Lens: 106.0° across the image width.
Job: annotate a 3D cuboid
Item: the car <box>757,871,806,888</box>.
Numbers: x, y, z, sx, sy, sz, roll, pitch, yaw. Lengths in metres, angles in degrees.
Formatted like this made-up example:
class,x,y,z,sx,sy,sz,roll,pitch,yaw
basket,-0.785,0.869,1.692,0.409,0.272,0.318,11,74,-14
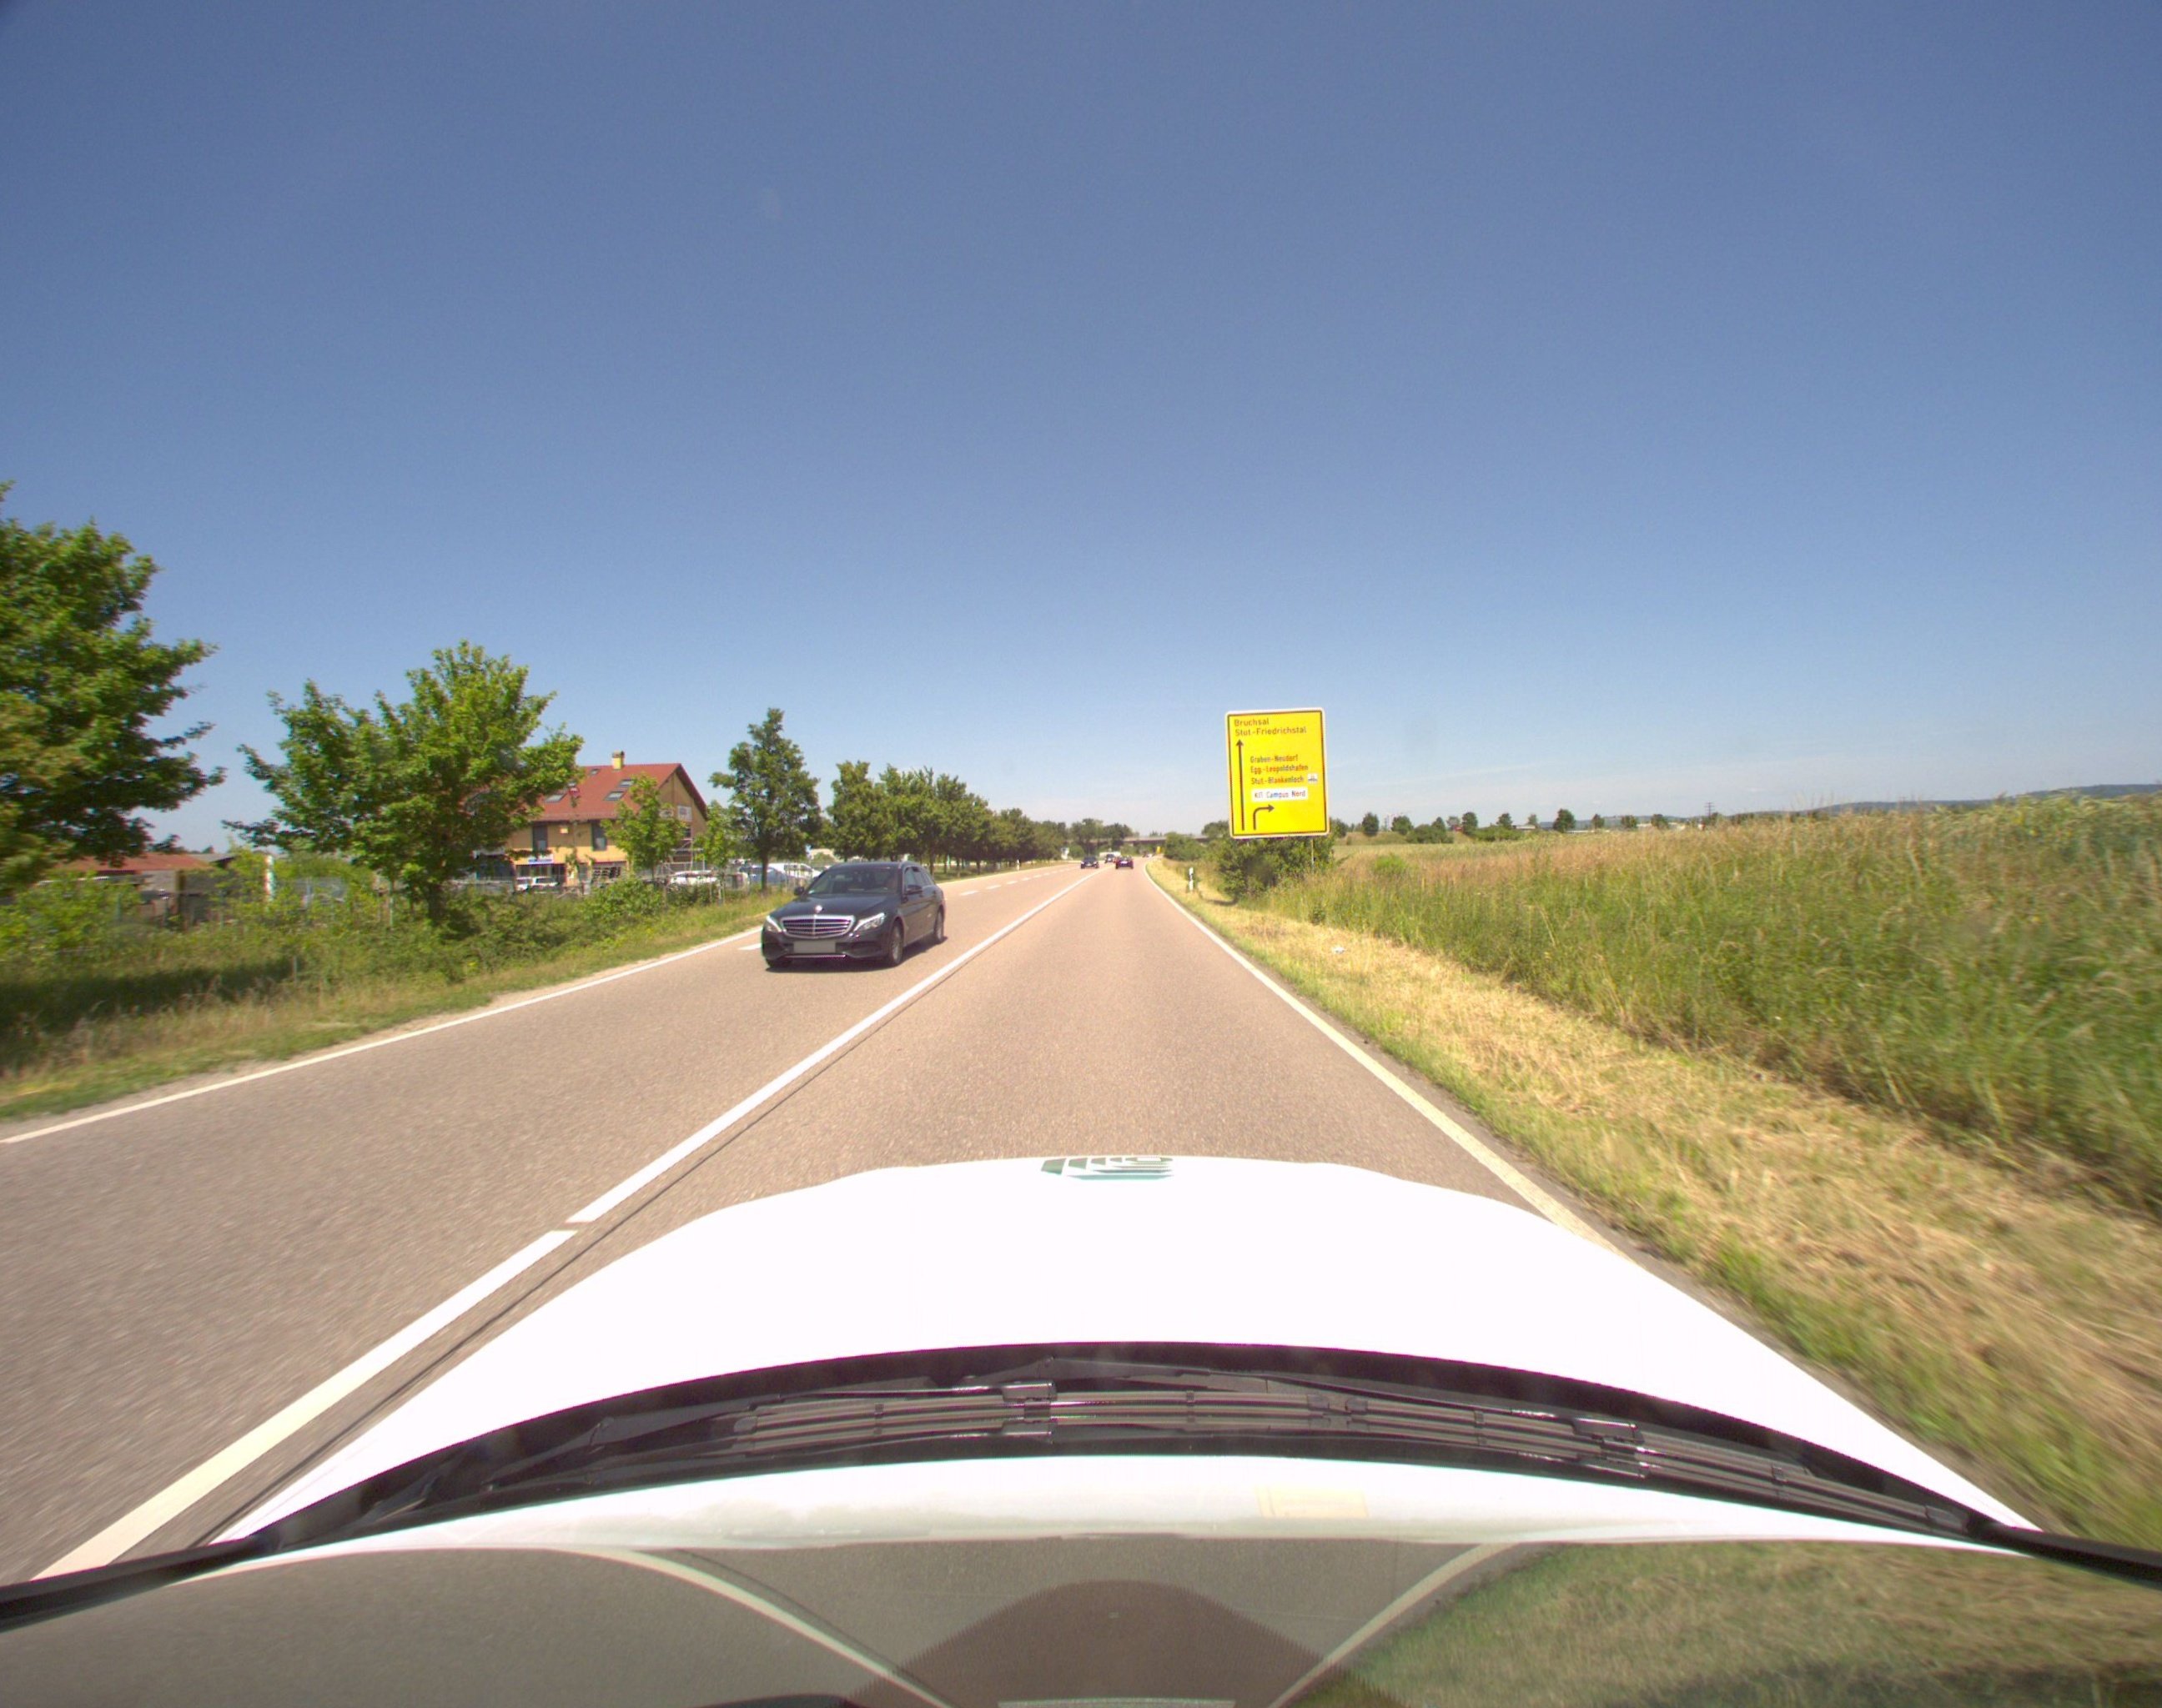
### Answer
class,x,y,z,sx,sy,sz,roll,pitch,yaw
car,-24.168,2.044,65.727,3.683,1.265,1.802,-1,0,-23

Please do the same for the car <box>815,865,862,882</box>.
class,x,y,z,sx,sy,sz,roll,pitch,yaw
car,-23.498,1.877,78.978,4.011,1.479,1.655,-1,0,-36

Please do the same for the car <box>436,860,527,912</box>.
class,x,y,z,sx,sy,sz,roll,pitch,yaw
car,-34.455,1.838,46.752,5.670,2.722,2.380,-3,0,35

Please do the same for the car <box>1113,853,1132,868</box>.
class,x,y,z,sx,sy,sz,roll,pitch,yaw
car,4.110,0.620,81.041,1.808,1.441,4.001,0,0,1

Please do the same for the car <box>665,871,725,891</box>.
class,x,y,z,sx,sy,sz,roll,pitch,yaw
car,-29.095,2.001,61.478,3.675,1.409,1.642,-1,0,-1

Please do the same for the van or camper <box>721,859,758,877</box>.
class,x,y,z,sx,sy,sz,roll,pitch,yaw
van or camper,-48.510,1.975,115.802,2.455,2.363,6.536,-1,-1,-1

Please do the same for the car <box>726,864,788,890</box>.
class,x,y,z,sx,sy,sz,roll,pitch,yaw
car,-24.830,1.726,62.584,4.306,1.801,2.011,-1,0,-21

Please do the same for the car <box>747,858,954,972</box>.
class,x,y,z,sx,sy,sz,roll,pitch,yaw
car,-3.330,0.805,12.768,1.775,1.420,4.536,-1,0,2

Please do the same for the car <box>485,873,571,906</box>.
class,x,y,z,sx,sy,sz,roll,pitch,yaw
car,-35.133,2.230,51.751,4.581,1.807,2.066,-3,0,19

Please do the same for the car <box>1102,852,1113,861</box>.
class,x,y,z,sx,sy,sz,roll,pitch,yaw
car,4.388,0.439,133.966,1.672,1.499,3.890,-1,0,4

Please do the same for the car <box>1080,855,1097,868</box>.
class,x,y,z,sx,sy,sz,roll,pitch,yaw
car,0.799,0.782,82.729,1.630,1.268,3.813,-1,0,2

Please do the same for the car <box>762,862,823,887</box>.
class,x,y,z,sx,sy,sz,roll,pitch,yaw
car,-24.702,1.709,69.783,4.678,1.954,1.809,-1,0,-30

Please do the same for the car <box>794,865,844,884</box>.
class,x,y,z,sx,sy,sz,roll,pitch,yaw
car,-23.920,1.863,74.378,4.015,1.596,1.979,-1,0,-33
